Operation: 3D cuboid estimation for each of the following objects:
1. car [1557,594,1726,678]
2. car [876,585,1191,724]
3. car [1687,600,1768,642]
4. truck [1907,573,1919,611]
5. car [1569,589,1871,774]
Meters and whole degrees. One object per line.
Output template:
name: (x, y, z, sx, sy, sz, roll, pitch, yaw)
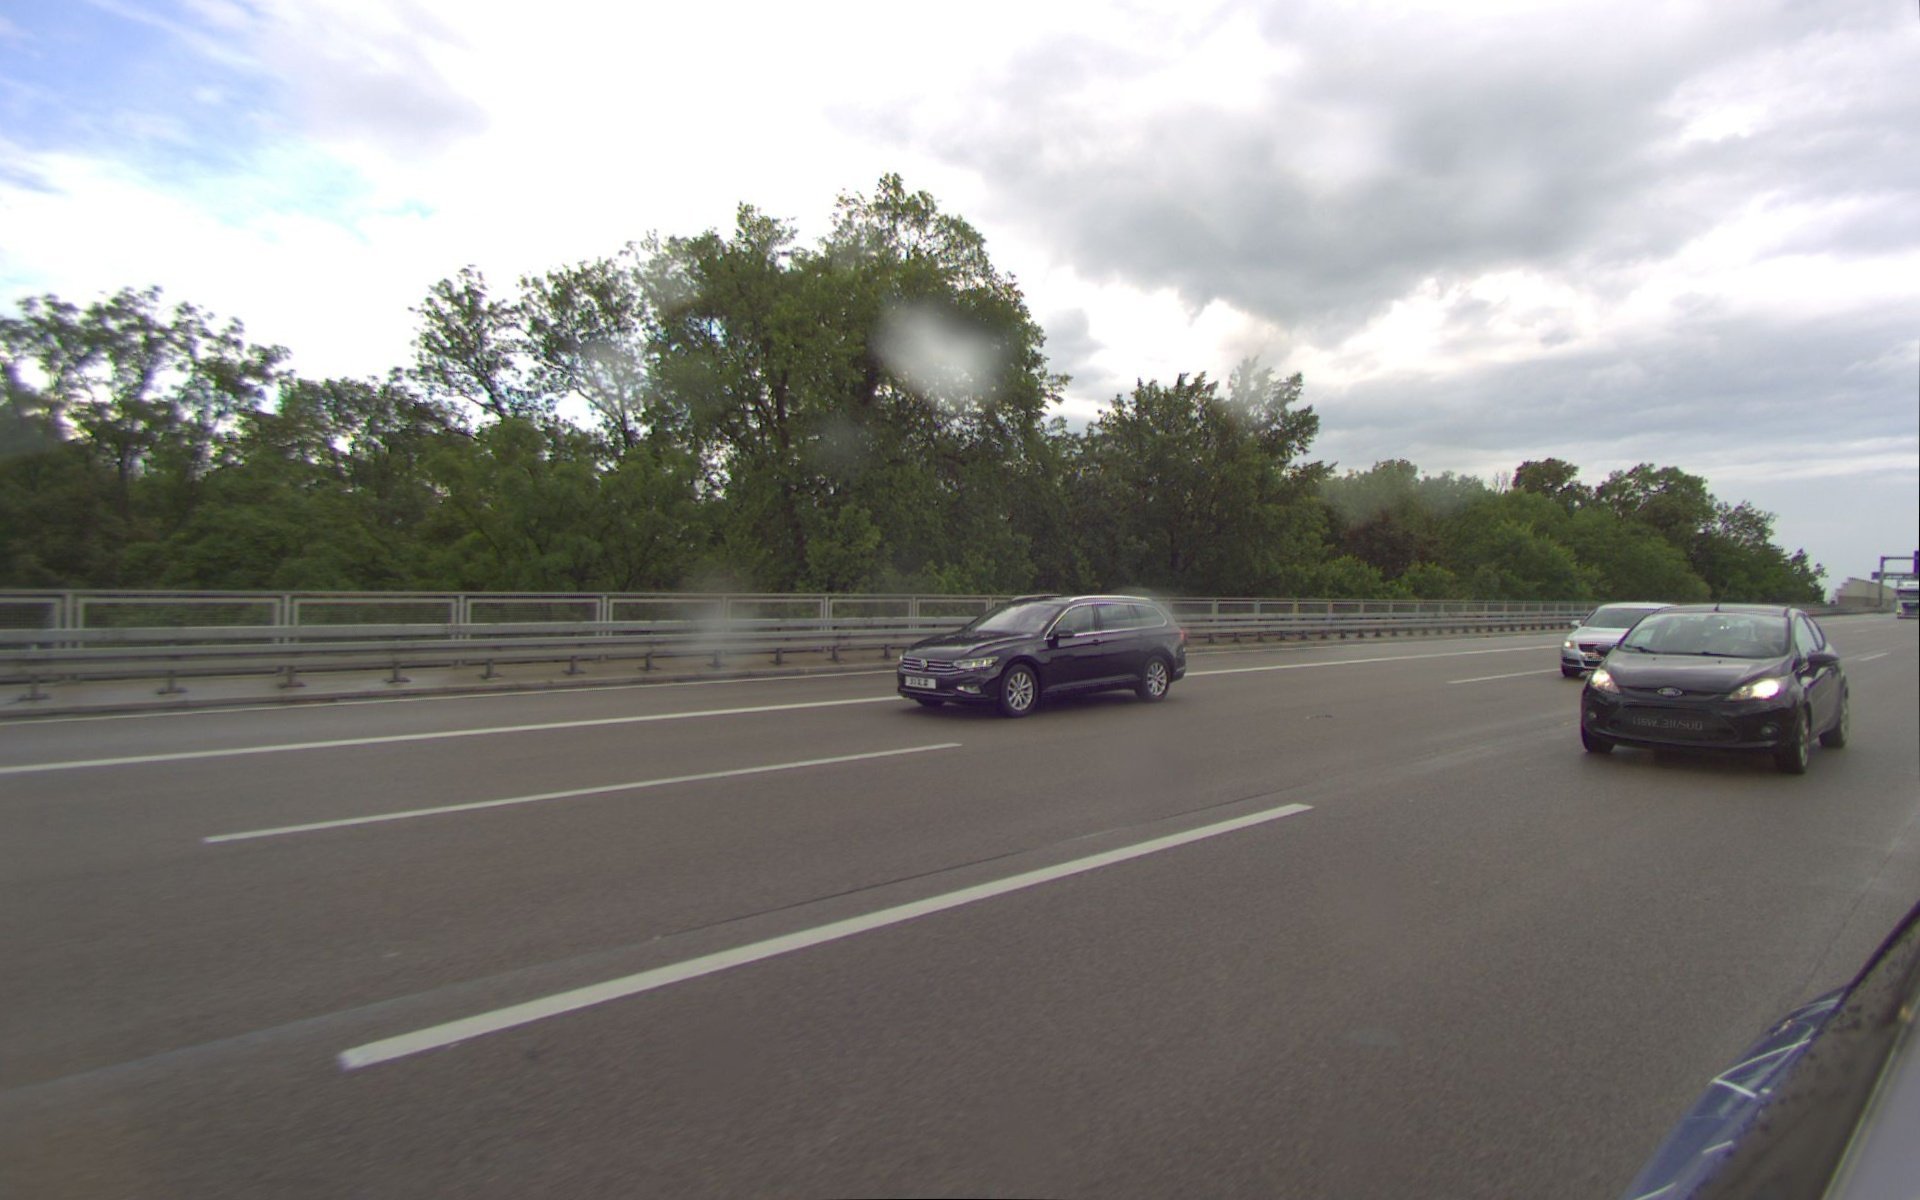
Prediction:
car: (13.519, 0.638, 19.984, 4.174, 1.465, 1.895, 0, 0, -43)
car: (1.113, 0.611, 13.580, 4.284, 1.562, 1.817, 0, 0, -43)
car: (29.654, 0.774, 39.045, 4.511, 1.465, 1.779, 0, 0, -43)
truck: (105.951, -0.854, 110.632, 3.247, 3.956, 12.116, 0, 0, 45)
car: (7.740, 0.629, 10.136, 4.331, 1.458, 1.666, -1, 1, -43)
